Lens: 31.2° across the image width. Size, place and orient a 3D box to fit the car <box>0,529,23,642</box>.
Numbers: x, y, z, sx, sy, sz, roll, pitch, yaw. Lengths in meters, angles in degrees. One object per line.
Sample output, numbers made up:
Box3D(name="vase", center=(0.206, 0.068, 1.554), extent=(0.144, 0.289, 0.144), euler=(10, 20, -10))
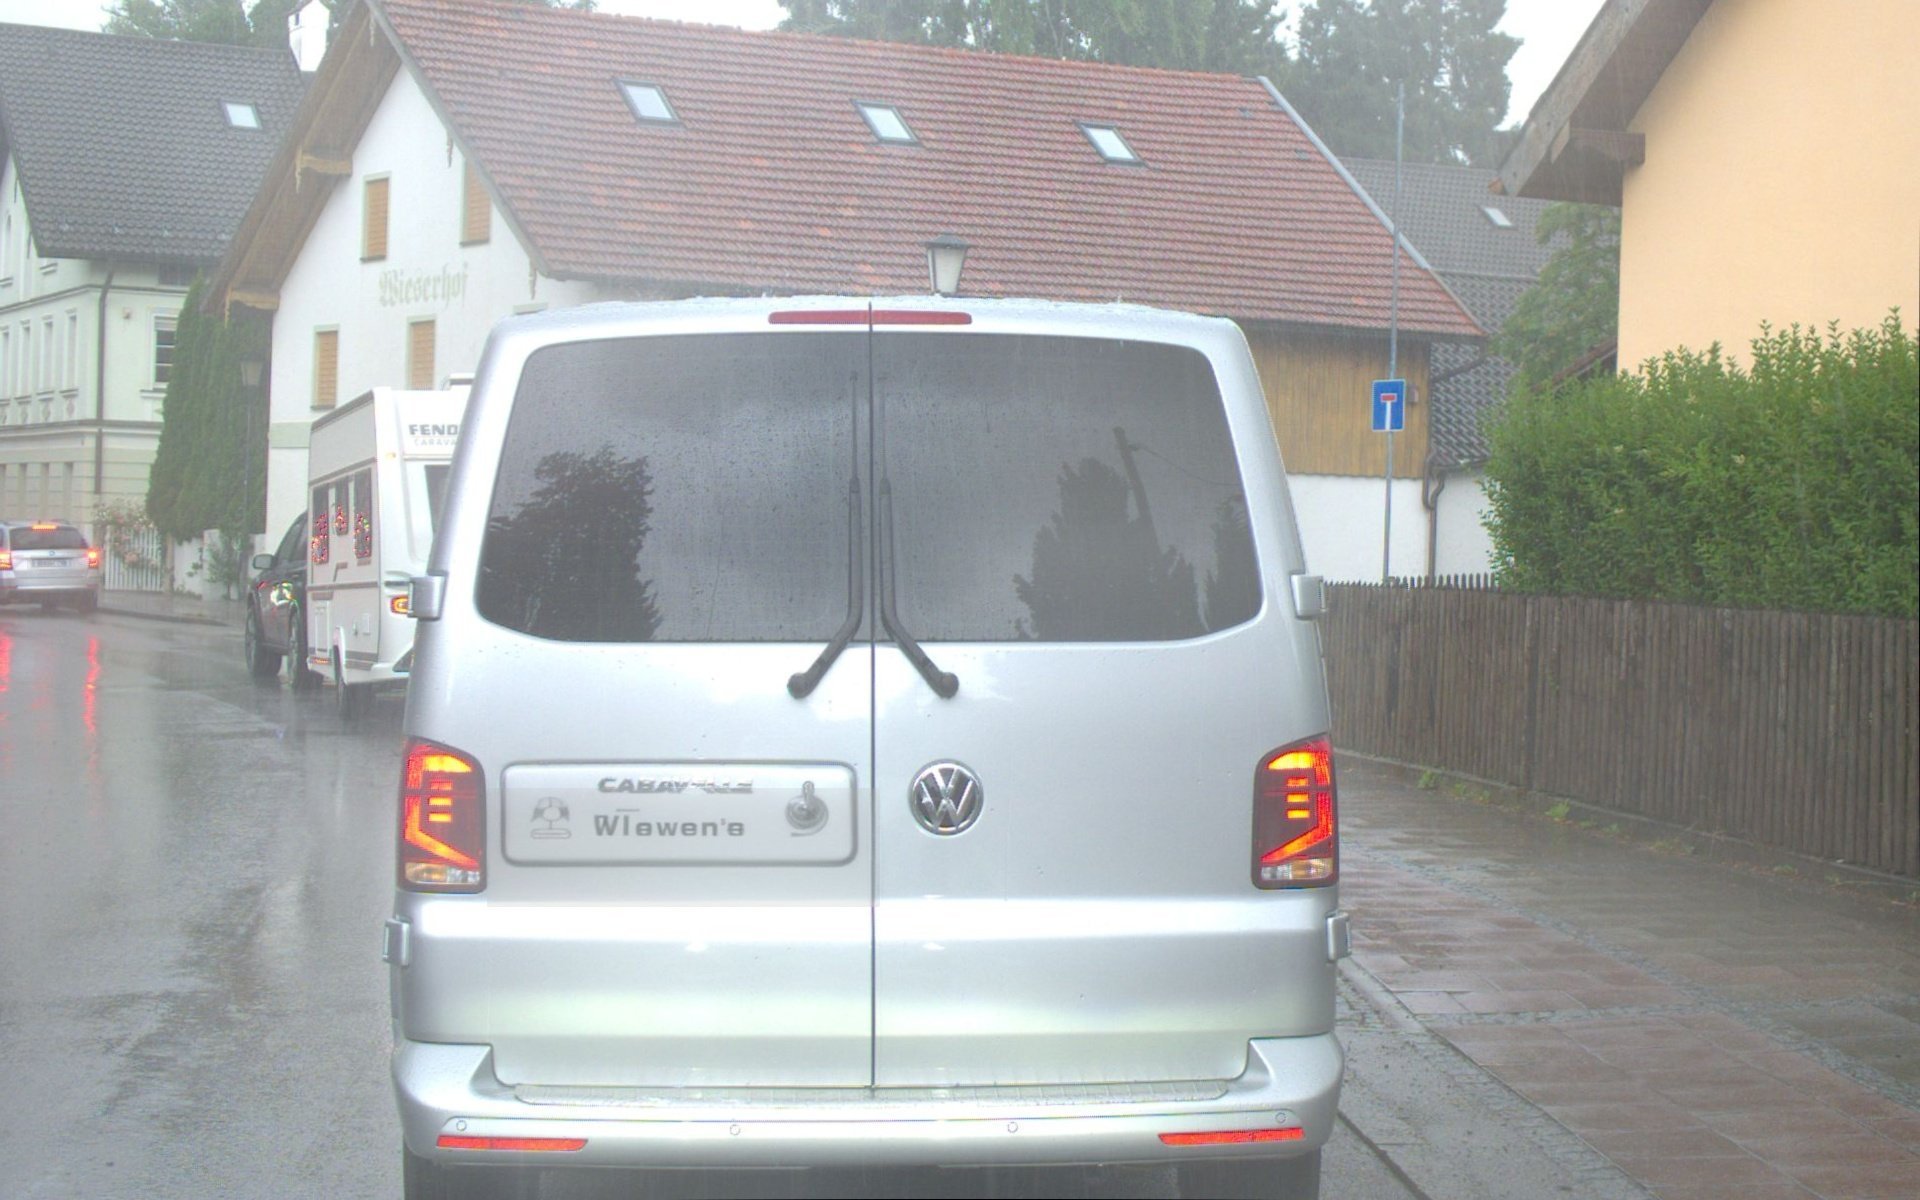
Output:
Box3D(name="car", center=(-18.143, -0.358, 60.500), extent=(2.168, 1.892, 5.015), euler=(2, 1, -27))

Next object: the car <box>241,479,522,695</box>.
Box3D(name="car", center=(-5.632, -0.162, 32.924), extent=(2.053, 1.892, 5.177), euler=(0, 1, -16))

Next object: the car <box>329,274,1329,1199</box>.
Box3D(name="car", center=(-0.247, 0.357, 8.659), extent=(1.776, 1.956, 5.074), euler=(0, 1, 0))

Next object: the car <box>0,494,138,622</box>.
Box3D(name="car", center=(-14.832, -0.675, 54.887), extent=(2.168, 1.893, 5.015), euler=(2, 0, -27))

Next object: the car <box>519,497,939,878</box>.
Box3D(name="car", center=(-1.282, 0.303, 17.134), extent=(1.708, 1.578, 4.687), euler=(-1, 2, -8))

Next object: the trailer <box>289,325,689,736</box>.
Box3D(name="trailer", center=(-3.924, -0.546, 27.500), extent=(2.270, 2.894, 6.134), euler=(0, 1, -16))
